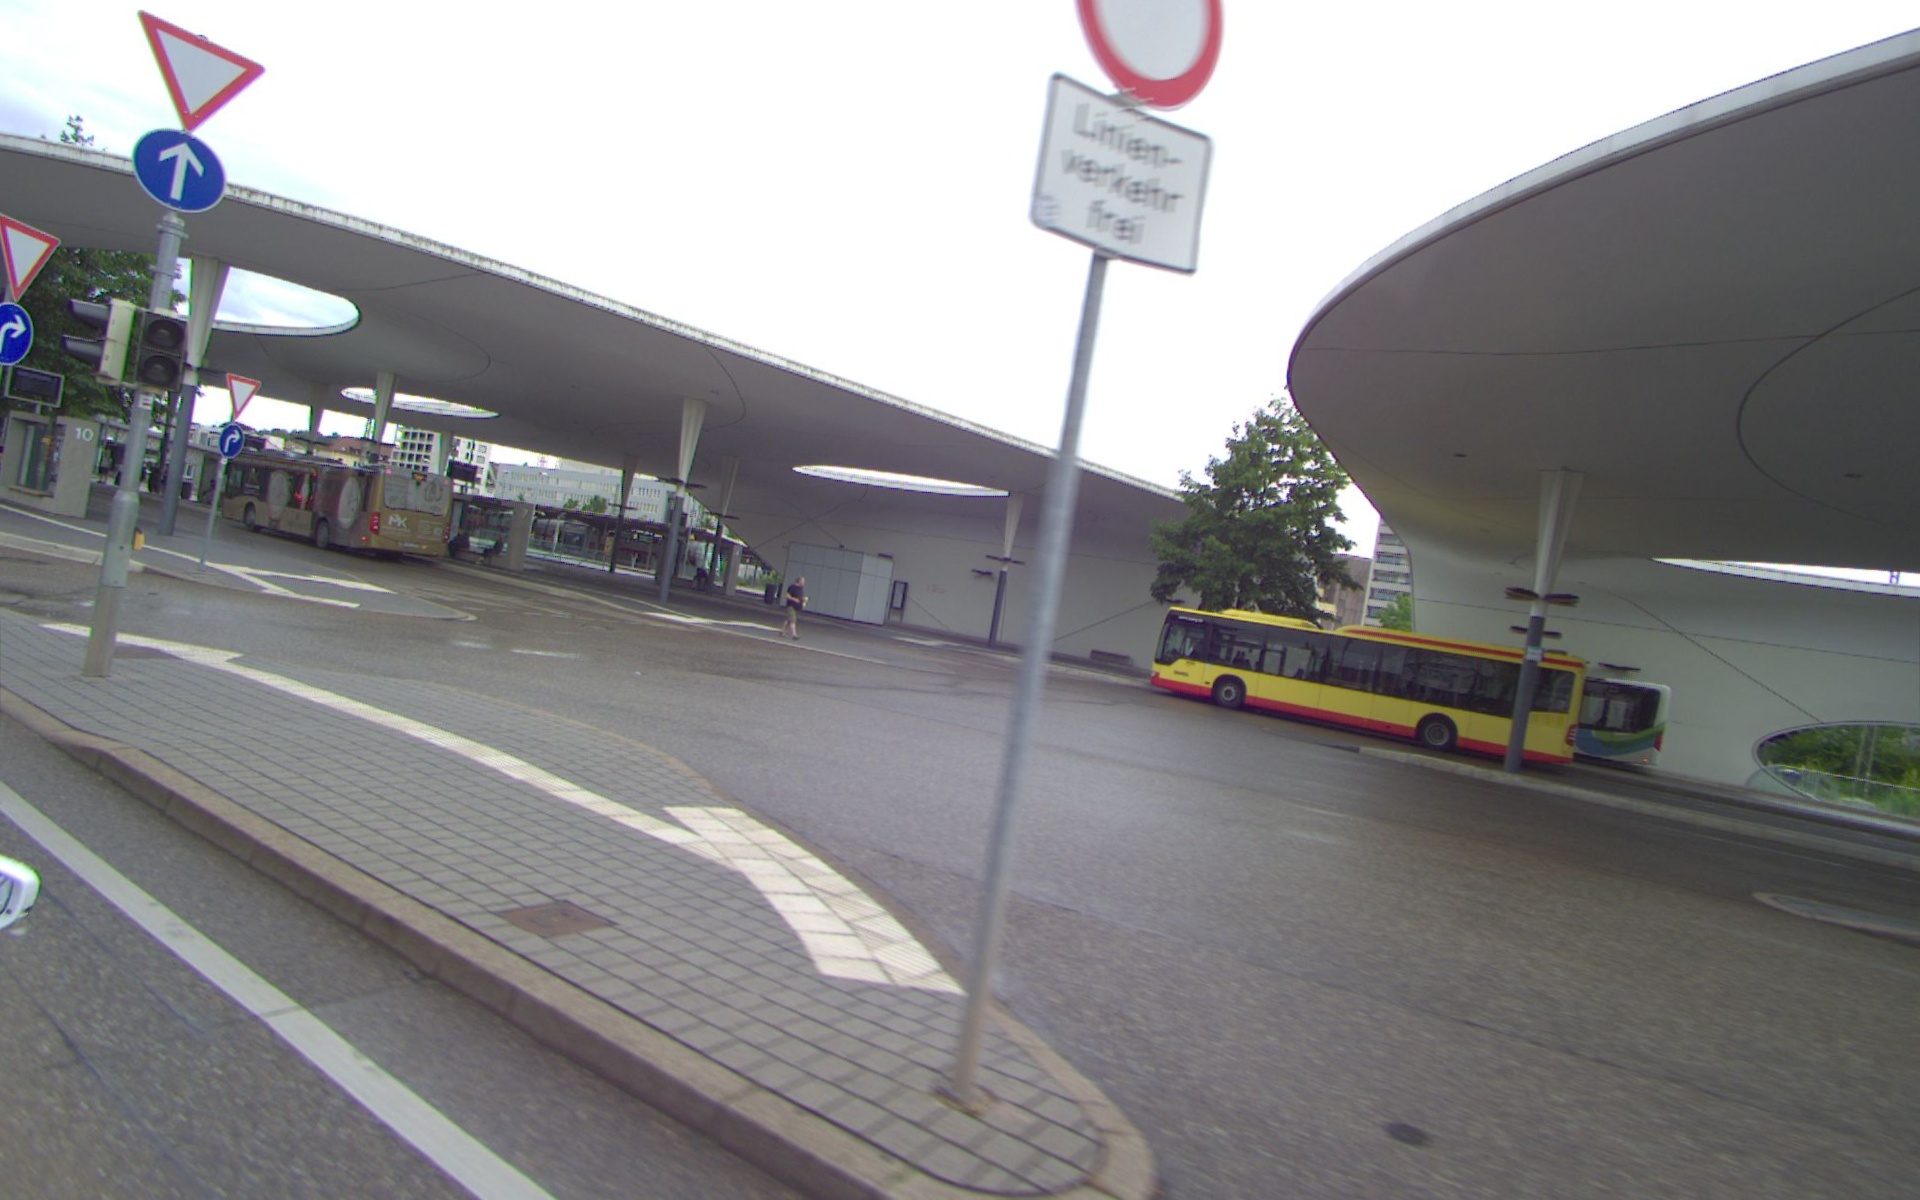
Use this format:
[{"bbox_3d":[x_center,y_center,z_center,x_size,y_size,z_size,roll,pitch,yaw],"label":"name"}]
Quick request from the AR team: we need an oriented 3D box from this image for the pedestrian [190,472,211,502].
[{"bbox_3d":[-39.892,-5.935,52.851,0.603,1.462,0.561,9,1,30],"label":"pedestrian"}]

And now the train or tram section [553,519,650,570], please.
[{"bbox_3d":[-38.963,-6.072,109.075,11.425,3.719,3.141,10,-3,33],"label":"train or tram section"}]

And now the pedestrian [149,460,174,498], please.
[{"bbox_3d":[-39.359,-5.952,49.602,0.603,1.712,0.561,10,1,27],"label":"pedestrian"}]

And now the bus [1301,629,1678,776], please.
[{"bbox_3d":[19.132,3.569,37.329,11.777,3.298,2.467,8,1,34],"label":"bus"}]

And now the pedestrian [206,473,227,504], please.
[{"bbox_3d":[-38.617,-5.785,52.237,0.603,1.462,0.561,9,1,30],"label":"pedestrian"}]

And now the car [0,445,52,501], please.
[{"bbox_3d":[-30.270,-4.125,31.643,3.184,1.470,1.650,10,1,32],"label":"car"}]

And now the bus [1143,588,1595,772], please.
[{"bbox_3d":[11.847,2.158,30.311,11.939,3.296,2.793,9,0,32],"label":"bus"}]

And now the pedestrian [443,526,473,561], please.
[{"bbox_3d":[-19.682,-2.217,39.446,0.789,1.241,0.626,8,1,-39],"label":"pedestrian"}]

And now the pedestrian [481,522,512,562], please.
[{"bbox_3d":[-17.754,-2.231,38.512,0.789,1.395,0.626,8,2,-39],"label":"pedestrian"}]

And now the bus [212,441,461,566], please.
[{"bbox_3d":[-22.530,-3.585,35.920,11.892,3.082,2.723,9,1,34],"label":"bus"}]

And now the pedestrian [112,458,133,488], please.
[{"bbox_3d":[-49.302,-7.447,59.208,0.573,1.594,0.559,10,-4,-21],"label":"pedestrian"}]

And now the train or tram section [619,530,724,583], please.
[{"bbox_3d":[-29.546,-4.497,102.778,11.425,3.716,3.141,9,-3,33],"label":"train or tram section"}]

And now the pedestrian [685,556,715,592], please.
[{"bbox_3d":[-12.949,-1.281,50.077,0.892,1.604,0.797,9,-1,28],"label":"pedestrian"}]

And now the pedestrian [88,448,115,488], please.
[{"bbox_3d":[-47.302,-7.270,55.431,0.719,2.034,0.665,10,-4,-30],"label":"pedestrian"}]

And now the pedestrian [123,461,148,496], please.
[{"bbox_3d":[-40.836,-6.018,49.818,0.699,1.601,0.599,7,1,25],"label":"pedestrian"}]

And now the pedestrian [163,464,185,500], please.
[{"bbox_3d":[-44.059,-6.628,56.393,0.584,1.897,0.711,9,1,-27],"label":"pedestrian"}]

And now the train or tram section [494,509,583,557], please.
[{"bbox_3d":[-48.389,-7.694,115.327,11.425,3.697,3.141,10,-3,33],"label":"train or tram section"}]

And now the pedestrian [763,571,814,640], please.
[{"bbox_3d":[-4.636,0.153,27.244,1.002,1.706,0.719,8,2,8],"label":"pedestrian"}]

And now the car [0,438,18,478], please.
[{"bbox_3d":[-44.833,-6.722,45.810,4.170,1.681,1.715,10,0,33],"label":"car"}]

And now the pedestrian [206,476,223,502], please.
[{"bbox_3d":[-39.113,-5.828,52.790,0.455,1.265,0.558,9,1,-27],"label":"pedestrian"}]
